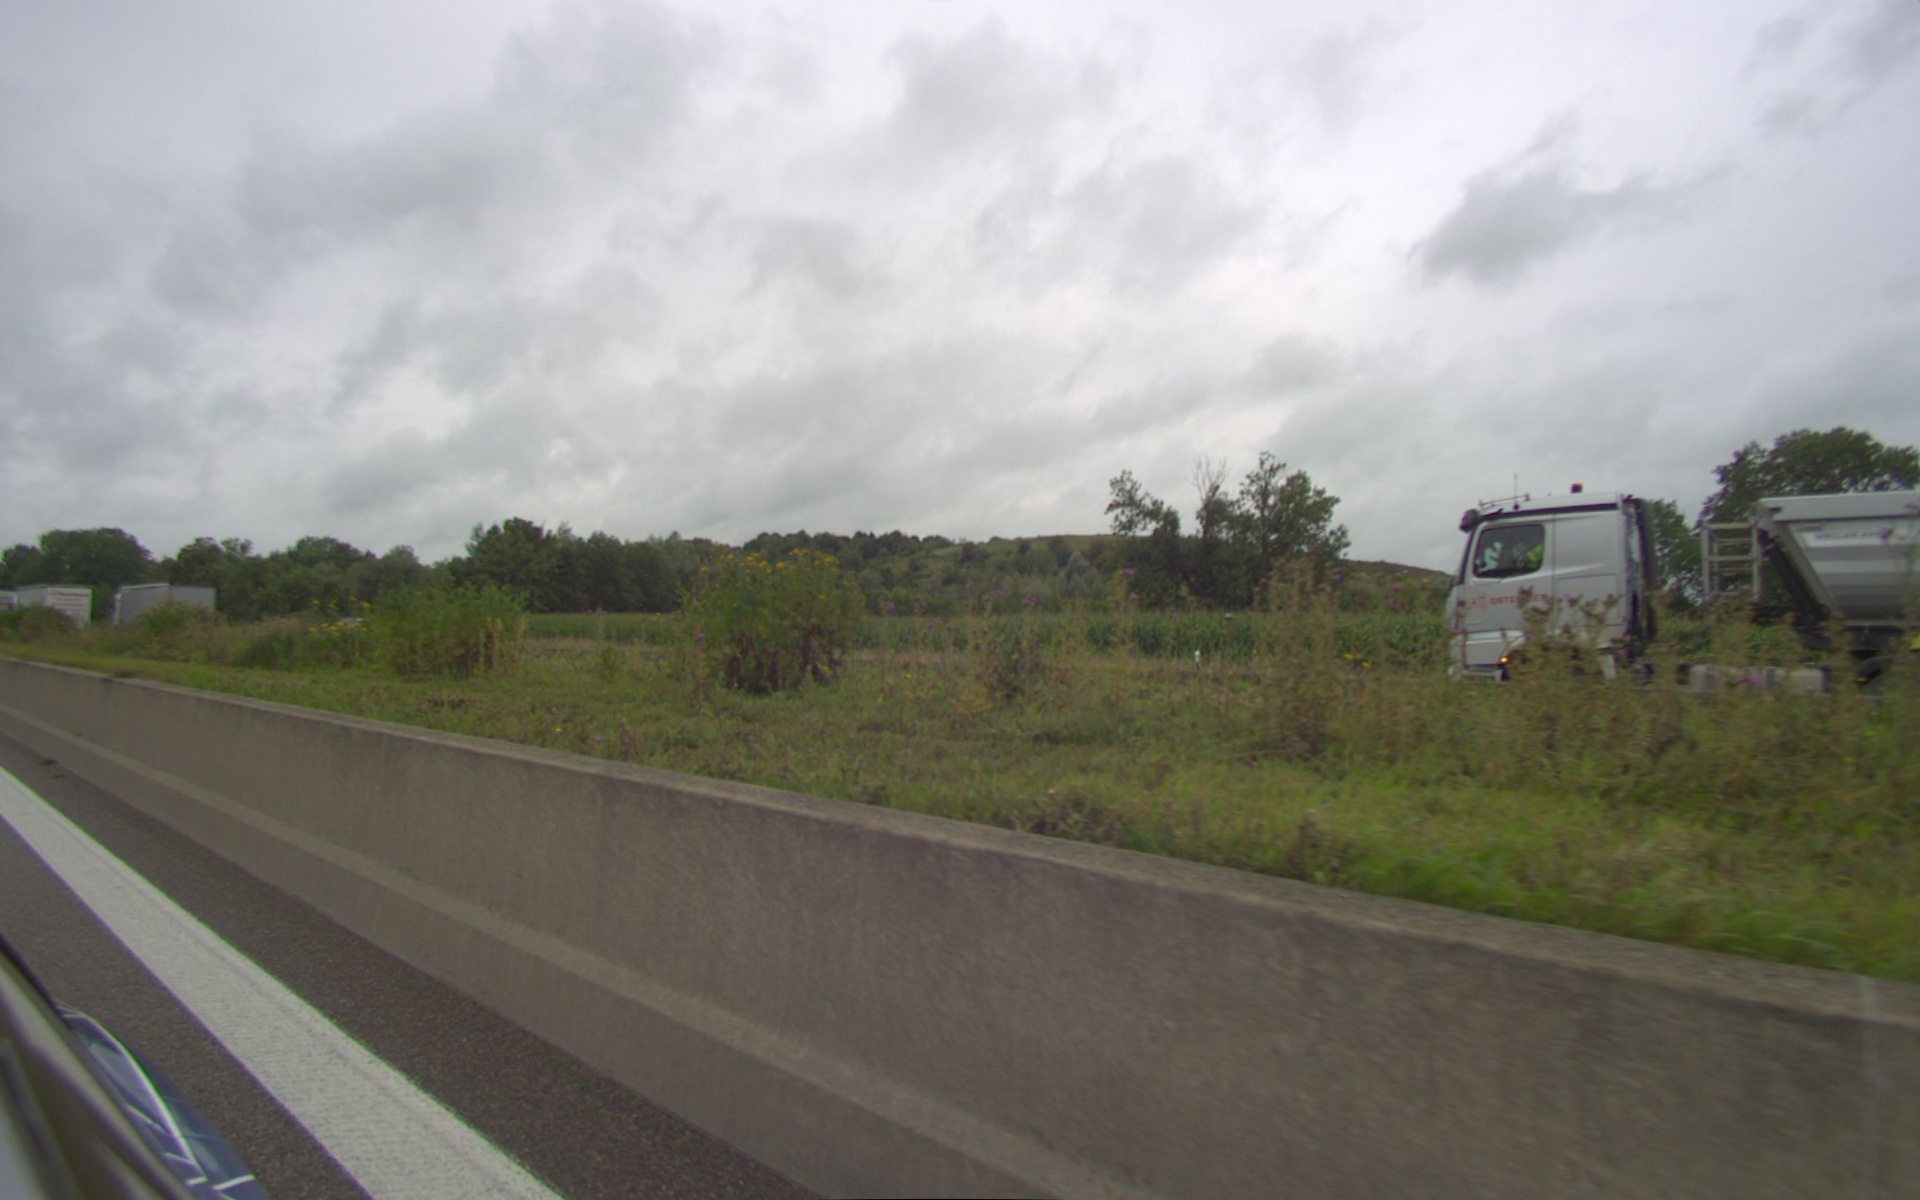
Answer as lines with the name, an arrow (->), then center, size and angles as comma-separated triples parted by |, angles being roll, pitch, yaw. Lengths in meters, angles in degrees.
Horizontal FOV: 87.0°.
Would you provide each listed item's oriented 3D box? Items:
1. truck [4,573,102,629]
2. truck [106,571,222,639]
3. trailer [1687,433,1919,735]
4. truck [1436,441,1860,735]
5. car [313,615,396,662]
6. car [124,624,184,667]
truck -> -69.303, 0.163, 77.083 | 16.102, 3.910, 3.563 | -1, 0, 41
truck -> -56.186, 0.388, 71.097 | 16.891, 4.375, 3.290 | -1, 0, 41
trailer -> 13.704, -0.213, 10.396 | 9.921, 3.353, 2.758 | -1, 0, 41
truck -> 9.438, -0.126, 14.094 | 4.518, 3.369, 2.727 | -1, 0, 41
car -> -27.833, 1.732, 46.463 | 4.478, 2.029, 1.973 | -1, 0, 41
car -> -42.620, 2.361, 53.510 | 3.998, 2.029, 1.790 | 1, 1, 41
